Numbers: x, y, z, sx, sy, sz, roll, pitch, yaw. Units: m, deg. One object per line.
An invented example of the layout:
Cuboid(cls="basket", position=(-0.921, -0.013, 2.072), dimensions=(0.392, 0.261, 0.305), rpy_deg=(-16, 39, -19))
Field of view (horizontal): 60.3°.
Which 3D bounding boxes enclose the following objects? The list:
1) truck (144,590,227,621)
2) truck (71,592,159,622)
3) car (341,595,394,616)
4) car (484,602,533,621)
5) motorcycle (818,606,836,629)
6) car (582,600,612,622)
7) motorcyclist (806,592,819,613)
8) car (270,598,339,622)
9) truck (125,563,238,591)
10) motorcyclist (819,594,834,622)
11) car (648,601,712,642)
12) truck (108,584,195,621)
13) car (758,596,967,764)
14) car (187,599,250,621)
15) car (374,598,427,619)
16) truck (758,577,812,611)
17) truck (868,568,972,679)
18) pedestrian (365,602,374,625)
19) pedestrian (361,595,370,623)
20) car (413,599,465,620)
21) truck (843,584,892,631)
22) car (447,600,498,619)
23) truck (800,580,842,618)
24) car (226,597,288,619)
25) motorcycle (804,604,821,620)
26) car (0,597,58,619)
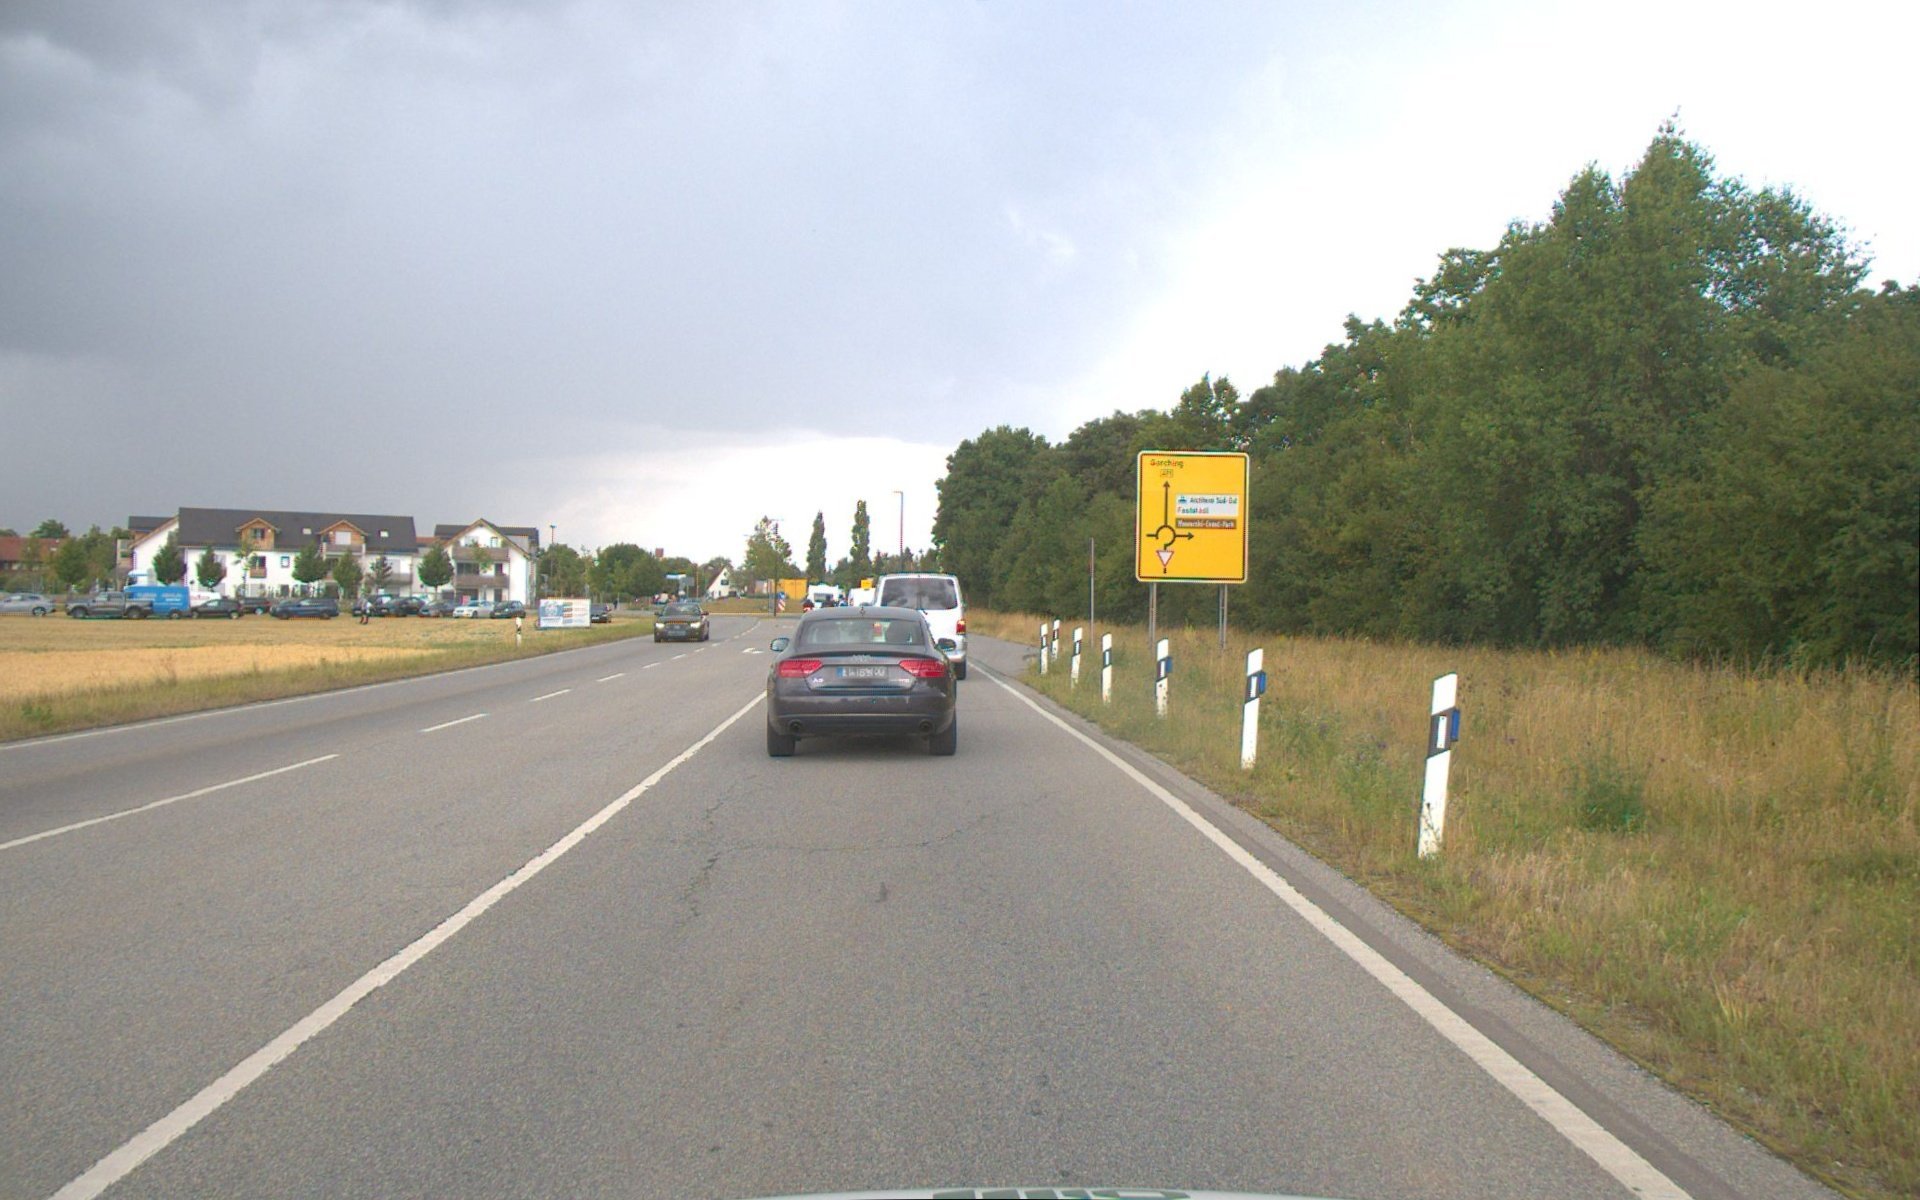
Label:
Cuboid(cls="truck", position=(-57.391, 0.386, 122.550), dimensions=(5.498, 2.235, 2.584), rpy_deg=(1, 0, -27))
Cuboid(cls="truck", position=(-56.640, 0.484, 110.859), dimensions=(5.172, 1.954, 2.090), rpy_deg=(1, 0, -31))
Cuboid(cls="car", position=(-47.550, 0.427, 132.849), dimensions=(1.951, 1.657, 4.215), rpy_deg=(0, 0, 14))
Cuboid(cls="car", position=(-35.504, 0.875, 130.128), dimensions=(1.951, 1.471, 4.215), rpy_deg=(0, 0, 14))
Cuboid(cls="motorcycle", position=(-6.903, 0.897, 85.582), dimensions=(0.902, 1.113, 2.186), rpy_deg=(1, 0, -5))
Cuboid(cls="car", position=(-26.039, 0.791, 118.523), dimensions=(1.960, 1.467, 3.985), rpy_deg=(1, 1, -15))
Cuboid(cls="motorcyclist", position=(-9.797, 0.183, 109.949), dimensions=(0.771, 1.380, 0.852), rpy_deg=(1, 0, -10))
Cuboid(cls="car", position=(-48.558, 0.729, 122.571), dimensions=(4.654, 1.727, 1.985), rpy_deg=(1, 0, -25))
Cuboid(cls="truck", position=(-74.403, -2.197, 158.279), dimensions=(9.166, 2.574, 3.295), rpy_deg=(1, 0, -7))
Cuboid(cls="motorcyclist", position=(-6.881, 0.422, 85.297), dimensions=(0.757, 1.408, 0.819), rpy_deg=(1, 0, -6))
Cuboid(cls="car", position=(-10.257, 0.781, 60.901), dimensions=(1.790, 1.435, 4.421), rpy_deg=(-1, 0, -3))
Cuboid(cls="truck", position=(-56.215, 0.166, 115.023), dimensions=(5.383, 2.489, 2.373), rpy_deg=(1, 0, -27))
Cuboid(cls="car", position=(-1.012, 0.703, 16.707), dimensions=(1.838, 1.479, 4.173), rpy_deg=(0, 0, -4))
Cuboid(cls="car", position=(-53.757, 0.751, 119.977), dimensions=(4.101, 1.545, 1.985), rpy_deg=(1, 0, -25))
Cuboid(cls="car", position=(-44.218, 0.676, 130.755), dimensions=(1.951, 1.657, 4.215), rpy_deg=(0, 0, 14))
Cuboid(cls="truck", position=(-19.981, -0.703, 188.450), dimensions=(3.526, 3.641, 9.890), rpy_deg=(1, 0, -22))
Cuboid(cls="truck", position=(-0.856, 0.431, 32.647), dimensions=(1.866, 2.033, 4.625), rpy_deg=(0, 0, -4))
Cuboid(cls="pedestrian", position=(-39.959, 0.913, 111.921), dimensions=(0.581, 1.583, 0.621), rpy_deg=(1, -1, -23))
Cuboid(cls="pedestrian", position=(-39.839, 0.597, 110.827), dimensions=(0.539, 1.817, 0.675), rpy_deg=(0, -1, -16))
Cuboid(cls="car", position=(-41.096, 0.730, 130.530), dimensions=(1.951, 1.562, 4.215), rpy_deg=(0, 0, 14))
Cuboid(cls="truck", position=(-4.205, 0.322, 75.037), dimensions=(2.150, 2.049, 5.081), rpy_deg=(0, 0, -4))
Cuboid(cls="car", position=(-38.365, 0.771, 130.319), dimensions=(1.951, 1.471, 4.215), rpy_deg=(0, 0, 14))
Cuboid(cls="truck", position=(-10.727, -0.044, 127.129), dimensions=(2.579, 2.785, 5.852), rpy_deg=(1, 0, -11))
Cuboid(cls="car", position=(-56.864, 0.635, 133.775), dimensions=(4.565, 1.727, 1.985), rpy_deg=(1, 0, -25))
Cuboid(cls="motorcycle", position=(-9.826, 0.793, 110.050), dimensions=(0.927, 1.037, 2.279), rpy_deg=(1, 0, -10))
Cuboid(cls="car", position=(-63.399, 0.535, 111.706), dimensions=(4.250, 1.487, 1.872), rpy_deg=(1, 0, -31))
